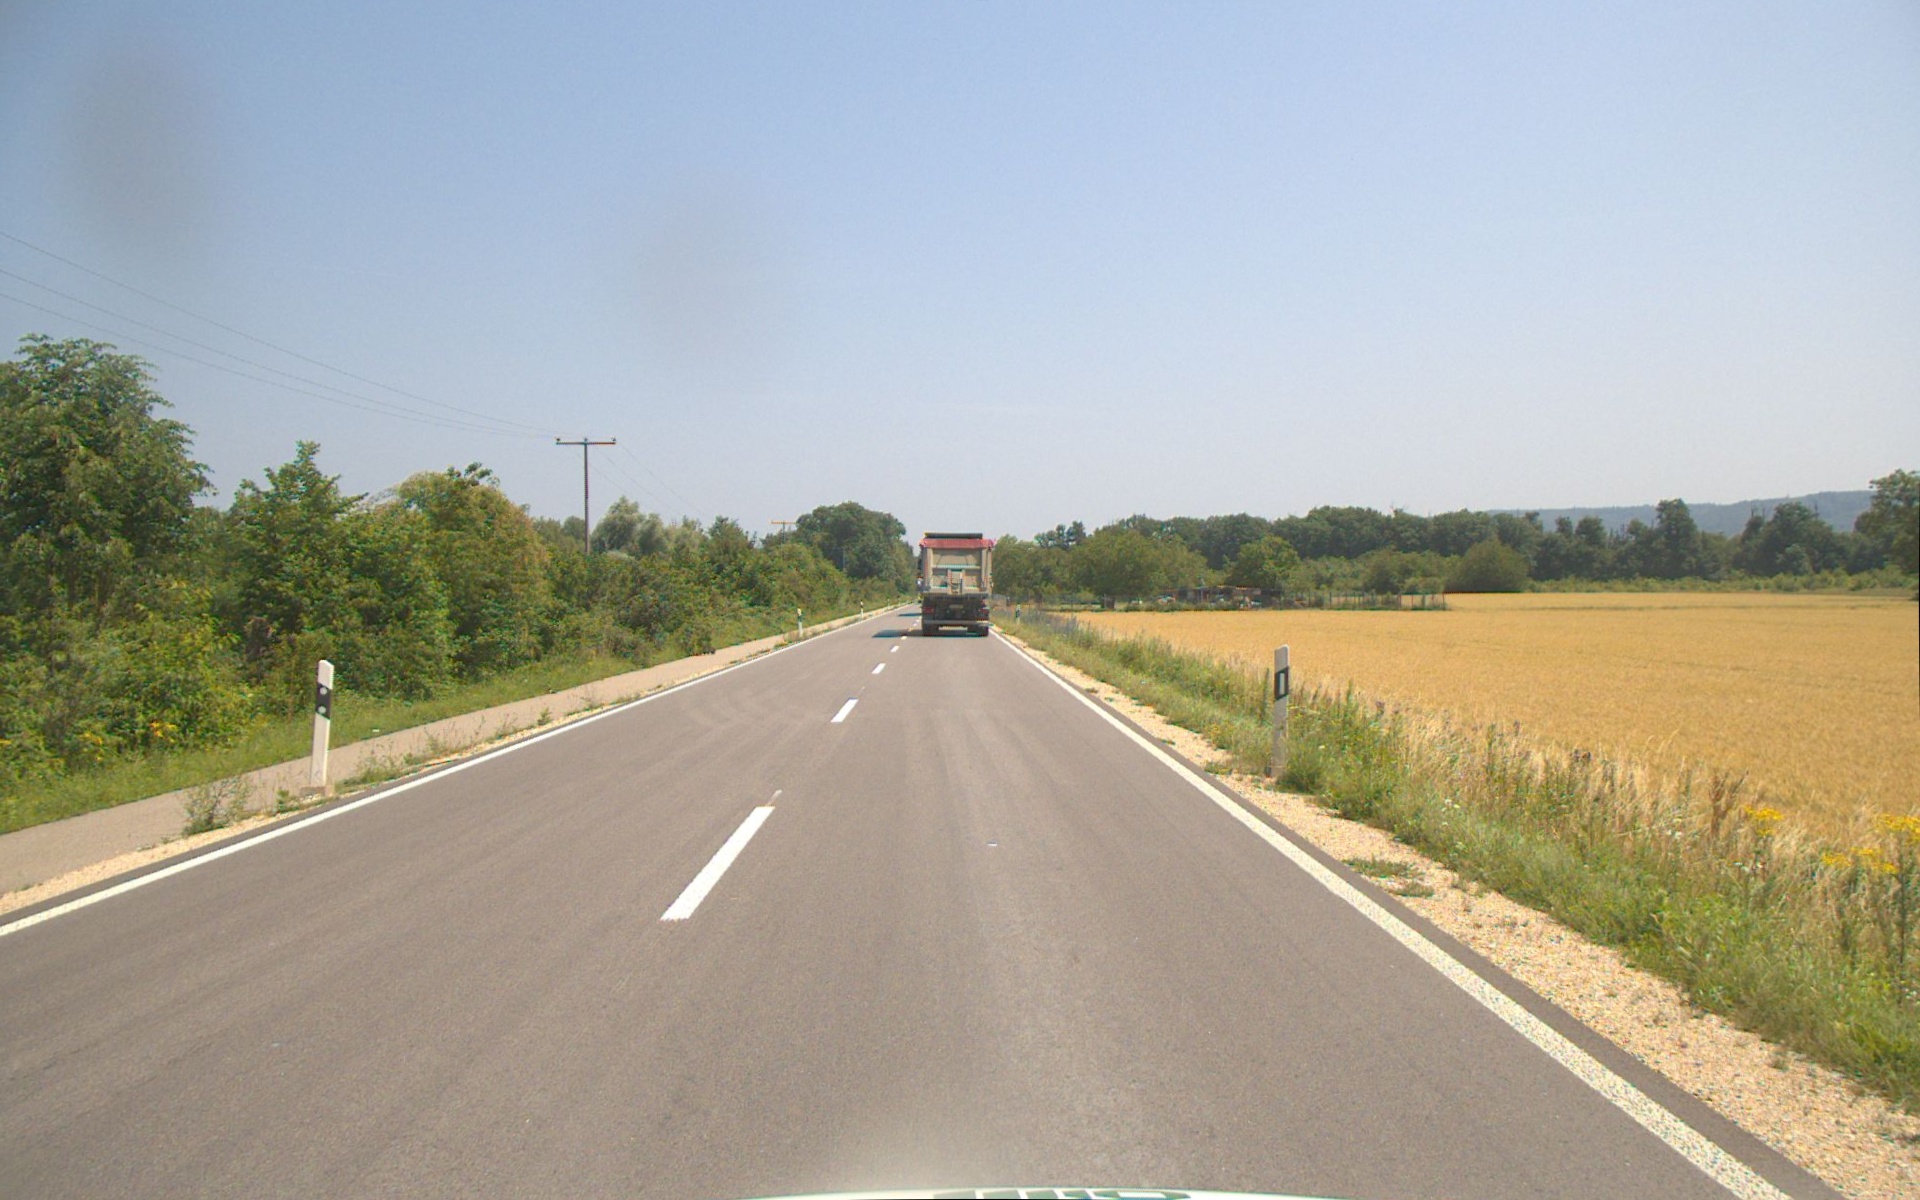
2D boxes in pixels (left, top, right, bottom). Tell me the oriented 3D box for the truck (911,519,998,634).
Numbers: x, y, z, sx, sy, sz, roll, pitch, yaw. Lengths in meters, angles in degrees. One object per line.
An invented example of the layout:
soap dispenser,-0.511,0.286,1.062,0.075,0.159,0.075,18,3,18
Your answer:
truck,-0.289,-0.797,63.938,2.948,3.942,12.206,1,0,-1

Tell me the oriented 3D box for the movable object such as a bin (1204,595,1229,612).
movable object such as a bin,24.516,0.336,158.256,1.540,1.522,3.655,0,0,-5
